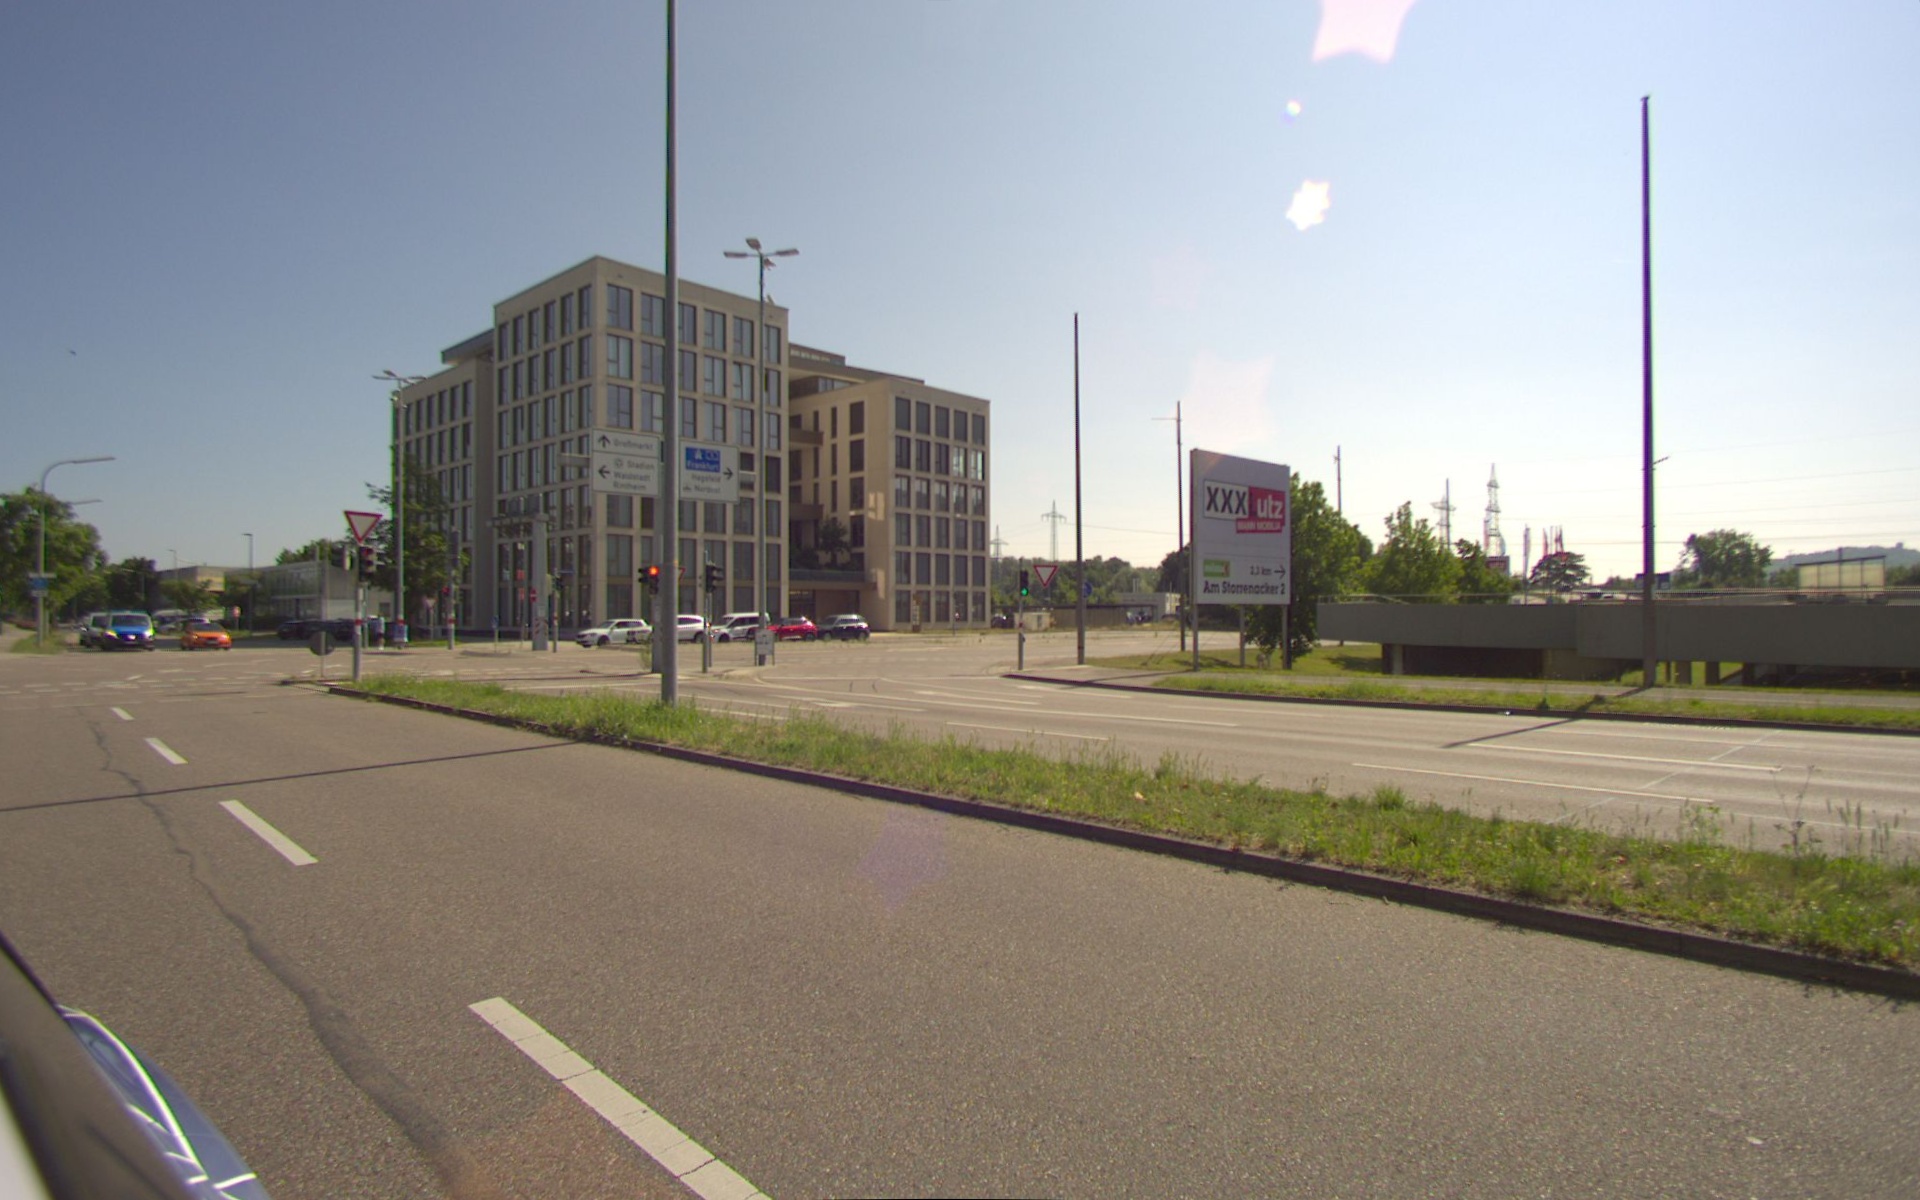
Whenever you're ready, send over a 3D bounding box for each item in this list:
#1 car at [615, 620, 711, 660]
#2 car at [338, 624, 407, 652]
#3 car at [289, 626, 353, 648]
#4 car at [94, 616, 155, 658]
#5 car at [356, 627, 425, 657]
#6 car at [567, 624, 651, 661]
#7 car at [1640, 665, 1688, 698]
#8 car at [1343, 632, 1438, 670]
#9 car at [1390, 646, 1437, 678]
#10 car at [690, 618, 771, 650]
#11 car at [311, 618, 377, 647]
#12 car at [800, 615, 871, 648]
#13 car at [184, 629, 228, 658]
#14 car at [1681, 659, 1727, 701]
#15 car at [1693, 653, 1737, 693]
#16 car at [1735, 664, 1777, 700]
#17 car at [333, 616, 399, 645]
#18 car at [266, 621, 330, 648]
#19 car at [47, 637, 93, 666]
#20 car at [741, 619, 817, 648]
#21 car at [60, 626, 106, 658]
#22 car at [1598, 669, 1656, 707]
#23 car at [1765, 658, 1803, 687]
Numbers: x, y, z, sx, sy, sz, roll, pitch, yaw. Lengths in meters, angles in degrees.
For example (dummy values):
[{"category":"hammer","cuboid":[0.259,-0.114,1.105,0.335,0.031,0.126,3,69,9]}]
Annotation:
[{"category":"car","cuboid":[-14.930,1.953,51.018,2.025,1.852,4.255,0,0,39]},{"category":"car","cuboid":[-40.459,2.606,69.796,3.930,1.841,2.006,0,-2,-26]},{"category":"car","cuboid":[-48.599,2.819,77.057,3.930,1.627,2.006,0,-2,-26]},{"category":"car","cuboid":[-40.877,1.796,49.617,2.152,1.923,4.740,0,-2,-38]},{"category":"car","cuboid":[-38.077,2.773,67.644,3.932,1.751,2.006,-1,0,-32]},{"category":"car","cuboid":[-18.050,2.145,52.135,1.832,1.725,3.718,0,0,38]},{"category":"car","cuboid":[23.882,2.743,34.323,1.071,0.983,1.916,-2,-2,42]},{"category":"car","cuboid":[21.813,2.530,51.405,1.970,1.747,4.003,0,0,-45]},{"category":"car","cuboid":[15.298,2.065,34.109,0.889,0.983,1.917,-3,-2,41]},{"category":"car","cuboid":[-13.040,1.929,57.593,1.903,1.724,4.173,-2,-2,41]},{"category":"car","cuboid":[-45.279,2.389,74.499,3.930,2.029,2.006,0,-2,-26]},{"category":"car","cuboid":[-7.684,1.898,62.671,1.835,1.903,4.182,-1,-1,44]},{"category":"car","cuboid":[-38.556,2.189,51.718,1.712,1.374,3.873,0,-2,-38]},{"category":"car","cuboid":[18.110,1.929,24.626,0.792,0.889,1.485,0,0,41]},{"category":"car","cuboid":[21.182,2.019,28.383,0.866,0.983,1.823,0,0,41]},{"category":"car","cuboid":[25.629,2.618,32.570,0.887,0.983,1.915,-1,-1,44]},{"category":"car","cuboid":[-42.682,2.181,72.811,3.930,2.029,2.006,0,-2,-26]},{"category":"car","cuboid":[-51.244,2.654,78.402,3.930,2.029,2.006,0,-2,-26]},{"category":"car","cuboid":[-52.055,2.959,59.234,1.885,1.504,3.872,0,0,-39]},{"category":"car","cuboid":[-9.992,1.831,55.991,1.530,1.539,4.063,-2,-2,41]},{"category":"car","cuboid":[-46.564,2.208,53.705,1.643,1.568,3.858,0,0,-44]},{"category":"car","cuboid":[19.706,2.579,29.891,1.071,1.016,1.915,-2,-3,44]},{"category":"car","cuboid":[32.180,2.815,39.517,1.071,1.047,1.917,-2,-2,41]}]
